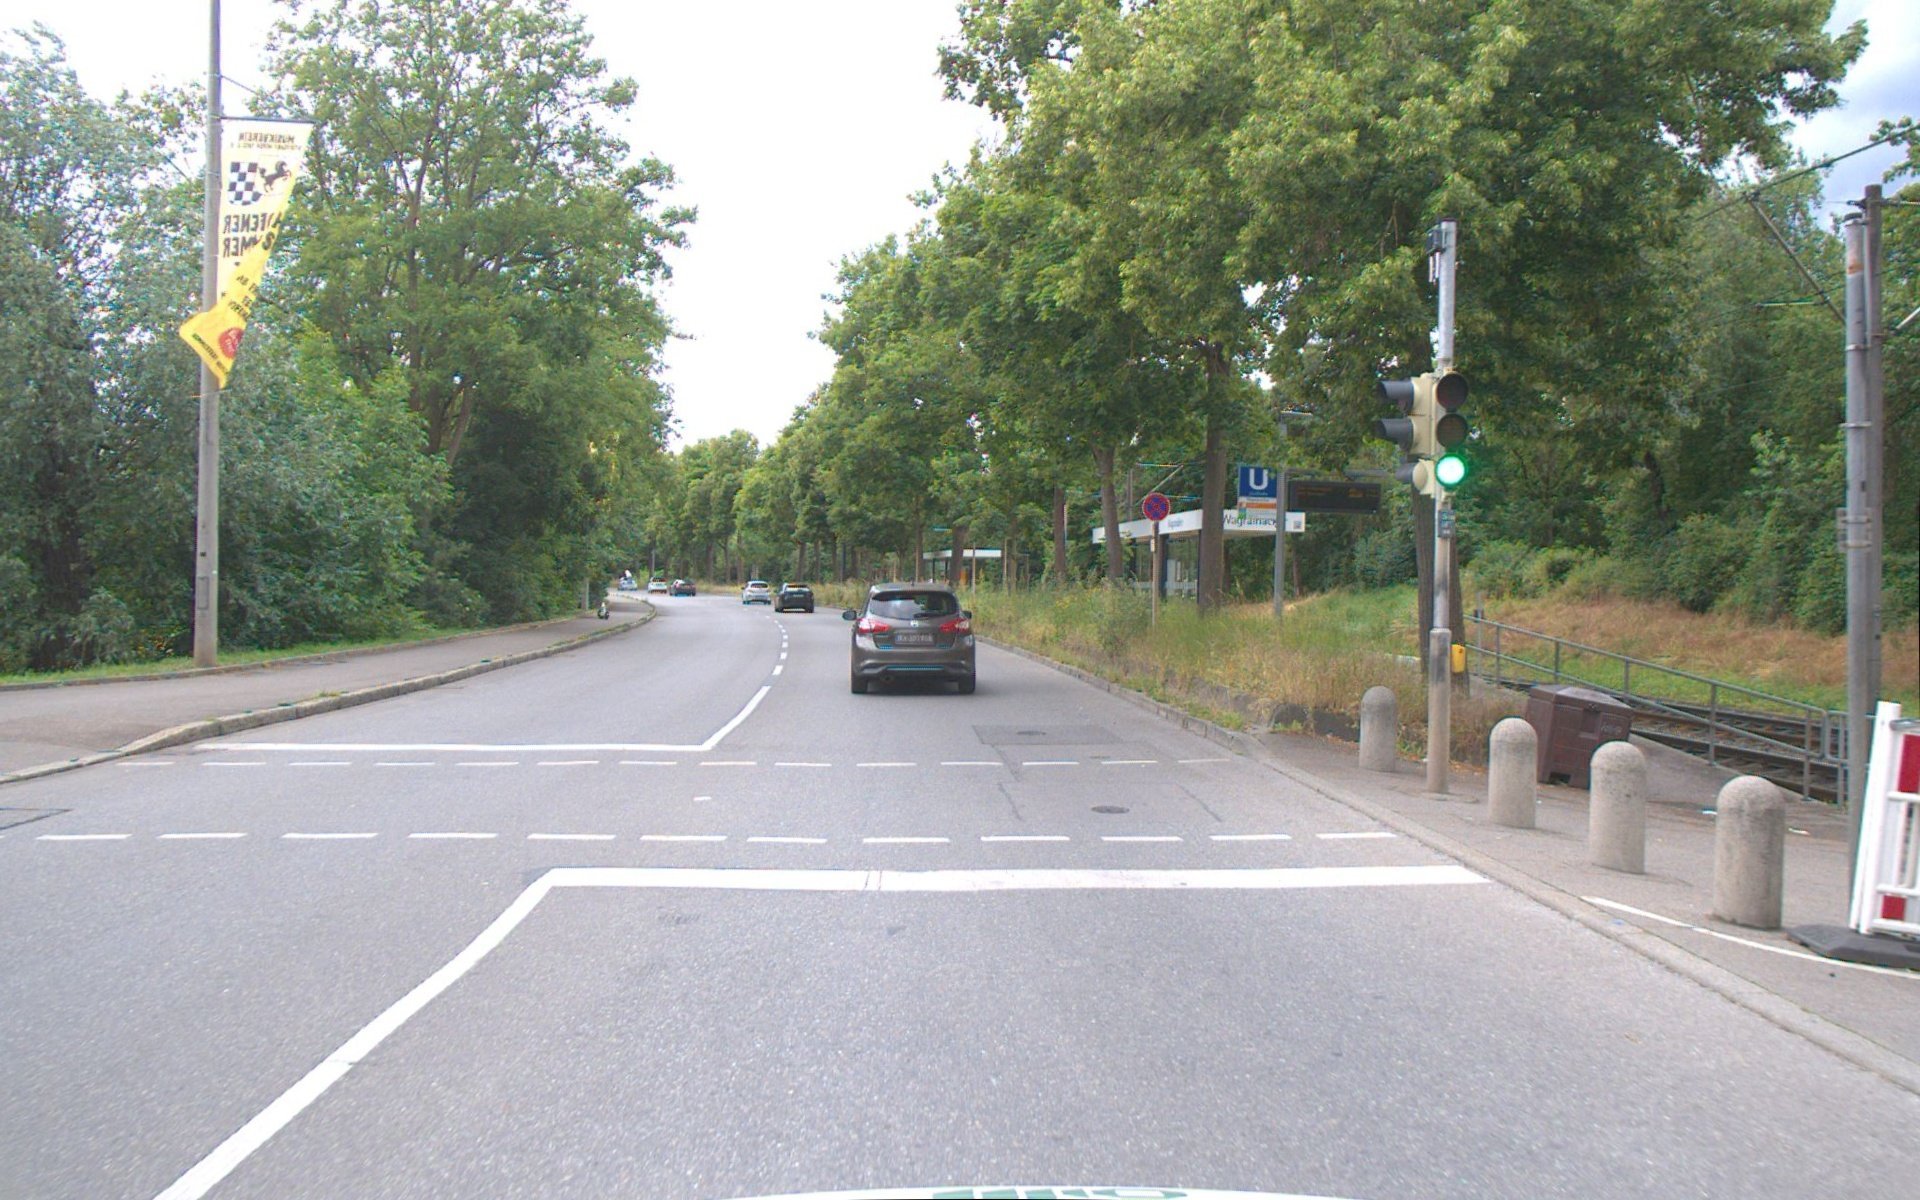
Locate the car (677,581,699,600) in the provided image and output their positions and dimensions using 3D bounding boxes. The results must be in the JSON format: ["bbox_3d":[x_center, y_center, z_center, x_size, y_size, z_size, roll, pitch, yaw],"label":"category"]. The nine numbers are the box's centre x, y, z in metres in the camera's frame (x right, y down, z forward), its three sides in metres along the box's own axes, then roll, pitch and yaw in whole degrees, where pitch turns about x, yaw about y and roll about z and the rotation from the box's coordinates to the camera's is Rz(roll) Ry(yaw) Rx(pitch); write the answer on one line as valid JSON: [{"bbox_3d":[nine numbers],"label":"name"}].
[{"bbox_3d":[-24.021,-0.856,145.911,1.744,1.497,3.990,5,0,-10],"label":"car"}]

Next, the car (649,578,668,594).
[{"bbox_3d":[-29.400,-1.362,161.261,1.744,1.497,3.990,2,1,-11],"label":"car"}]

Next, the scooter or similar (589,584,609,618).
[{"bbox_3d":[-13.119,0.021,60.111,0.360,1.204,1.286,2,0,-27],"label":"scooter or similar"}]

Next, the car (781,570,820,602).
[{"bbox_3d":[-7.950,-0.703,82.485,1.741,1.497,3.997,3,1,-4],"label":"car"}]

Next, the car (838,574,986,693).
[{"bbox_3d":[-0.791,0.421,24.293,1.782,1.534,3.994,0,2,-7],"label":"car"}]

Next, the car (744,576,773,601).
[{"bbox_3d":[-13.138,-0.778,108.218,1.742,1.497,3.995,3,1,-6],"label":"car"}]

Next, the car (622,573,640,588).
[{"bbox_3d":[-36.070,-2.164,181.365,1.744,1.497,3.990,3,1,-11],"label":"car"}]
